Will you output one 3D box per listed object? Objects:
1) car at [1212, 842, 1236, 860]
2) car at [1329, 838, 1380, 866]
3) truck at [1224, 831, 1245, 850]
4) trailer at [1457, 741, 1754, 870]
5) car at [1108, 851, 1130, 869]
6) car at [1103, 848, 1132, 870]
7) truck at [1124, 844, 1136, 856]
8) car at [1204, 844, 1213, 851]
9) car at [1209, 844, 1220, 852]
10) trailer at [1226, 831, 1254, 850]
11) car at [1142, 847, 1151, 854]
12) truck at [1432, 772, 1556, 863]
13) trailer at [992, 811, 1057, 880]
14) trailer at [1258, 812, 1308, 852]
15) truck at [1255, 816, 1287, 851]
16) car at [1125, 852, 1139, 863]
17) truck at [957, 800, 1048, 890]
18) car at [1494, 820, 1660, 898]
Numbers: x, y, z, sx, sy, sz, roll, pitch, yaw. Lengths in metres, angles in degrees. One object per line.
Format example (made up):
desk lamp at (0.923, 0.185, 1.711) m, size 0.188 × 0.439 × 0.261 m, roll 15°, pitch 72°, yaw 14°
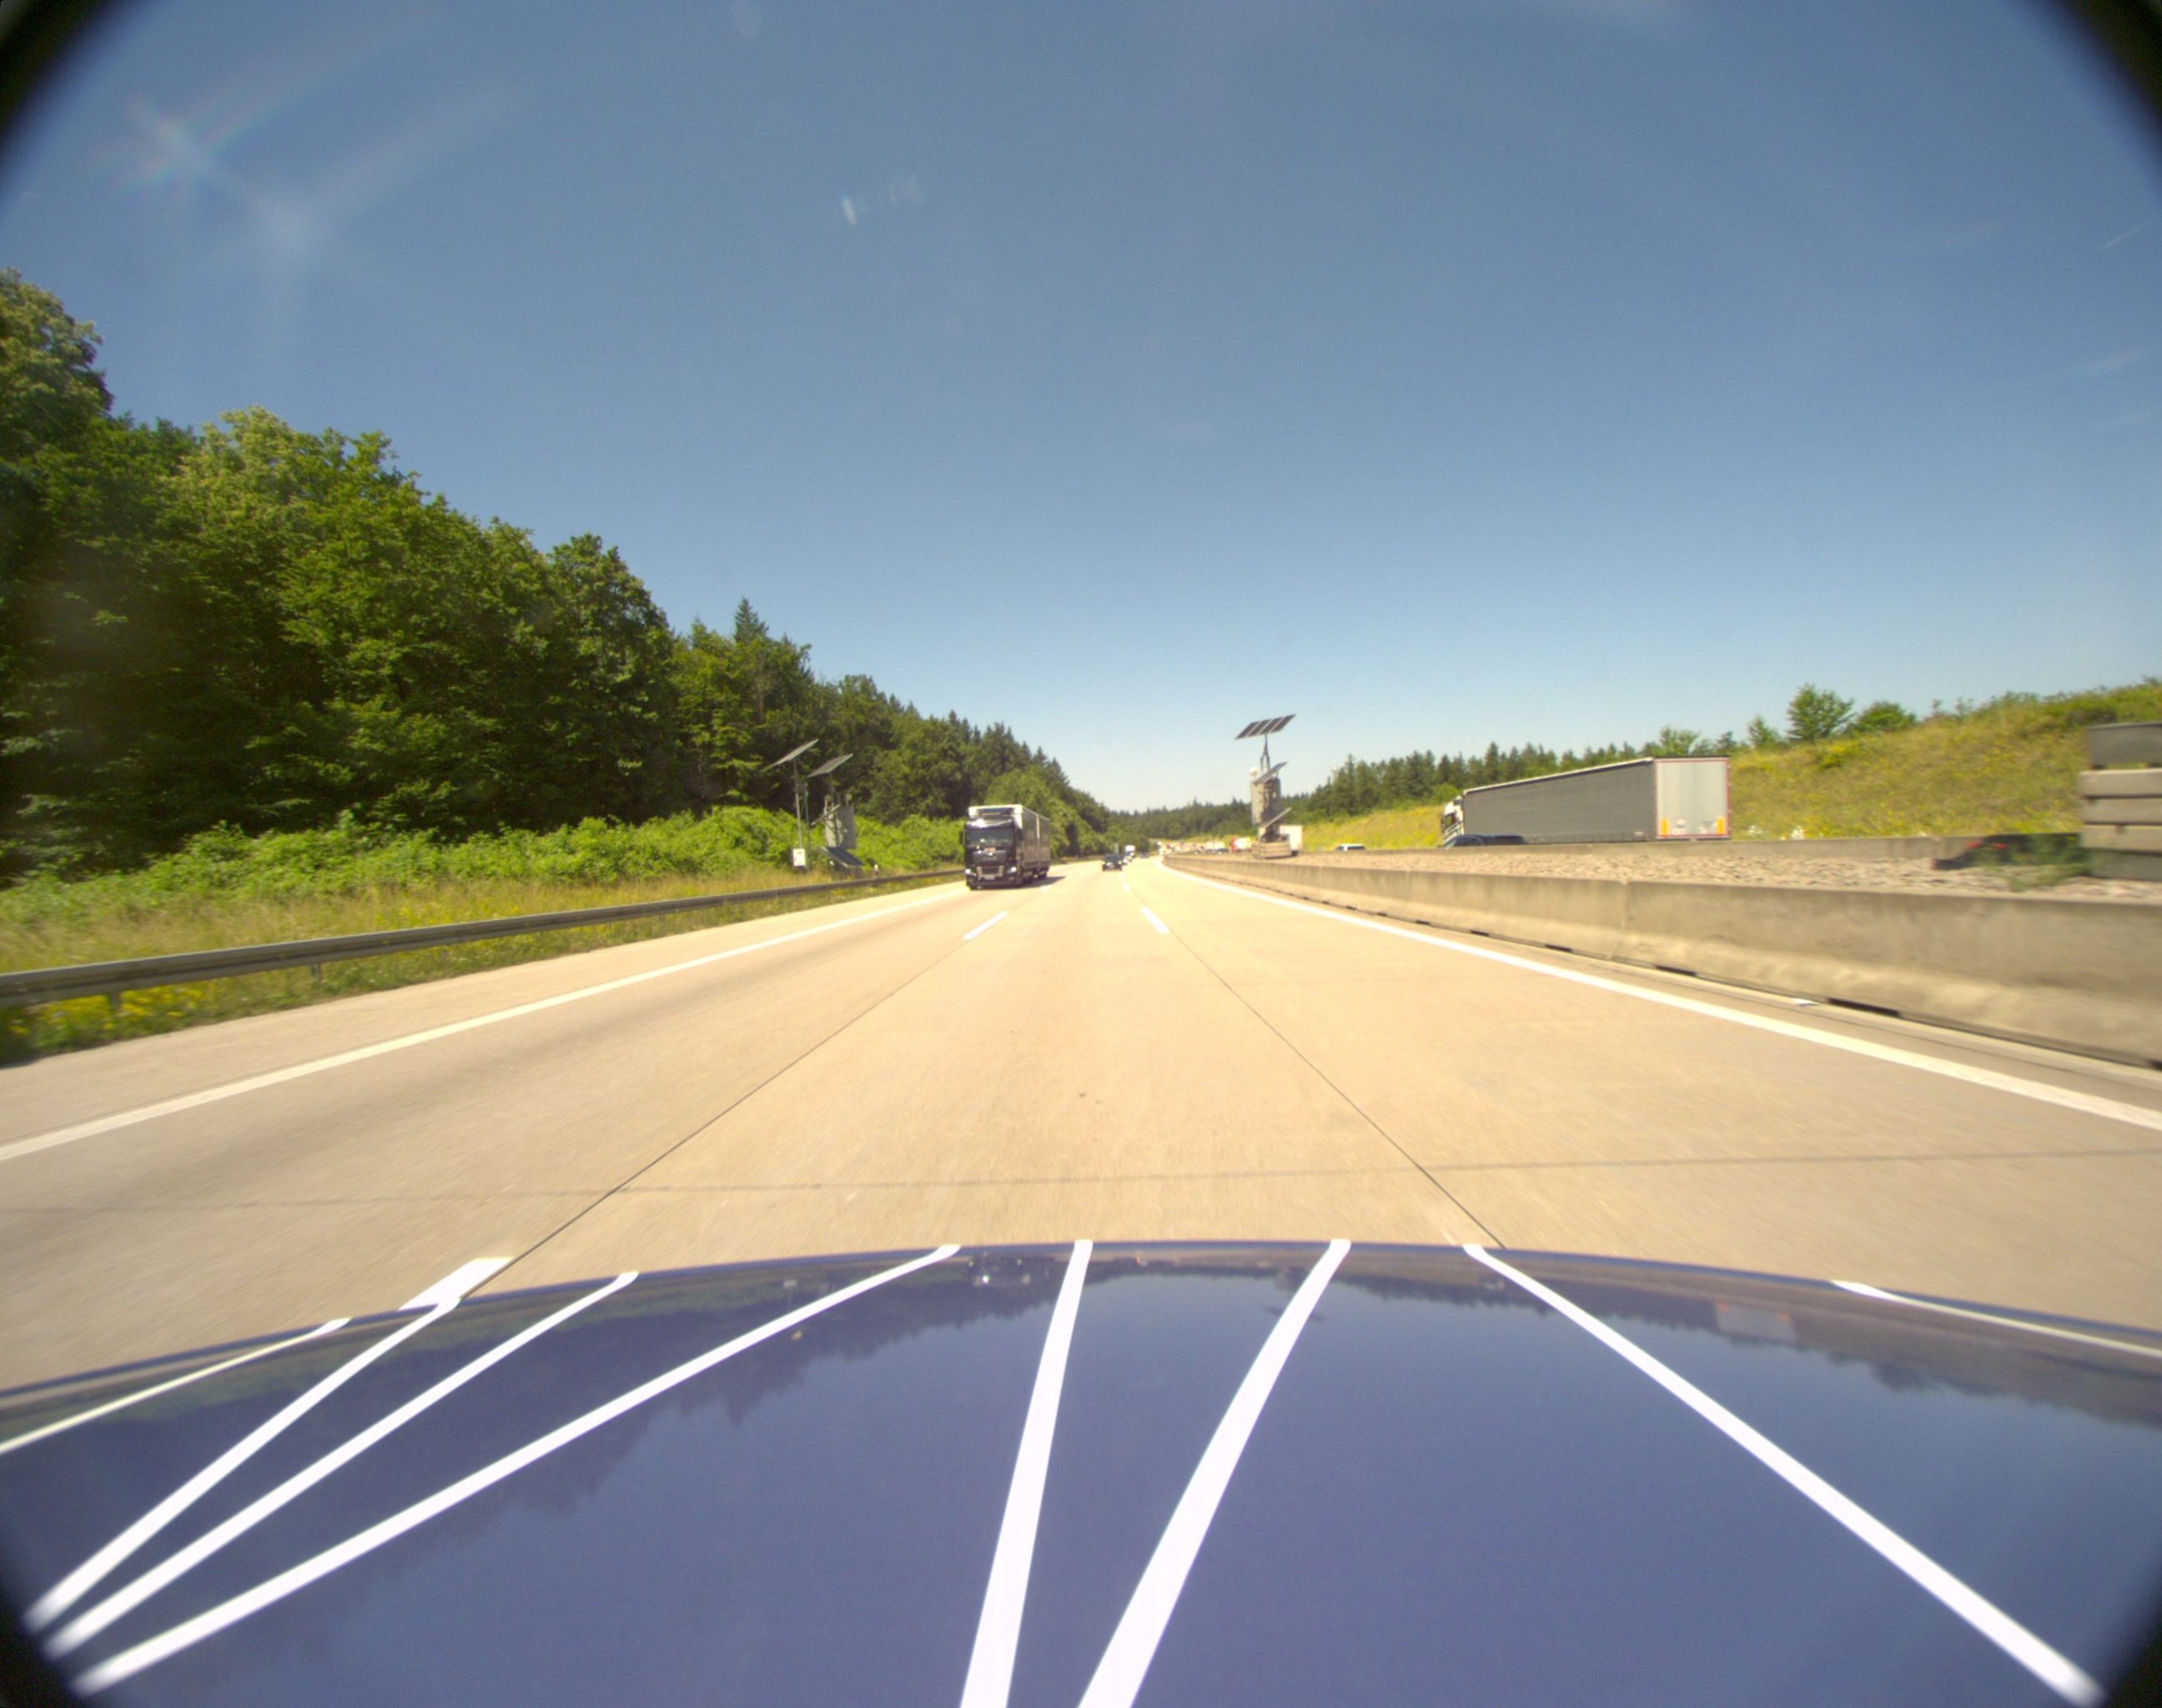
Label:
car at (15.963, -0.382, 84.766) m, size 1.998 × 1.903 × 4.000 m, roll -2°, pitch 0°, yaw 2°
car at (17.842, -0.134, 49.749) m, size 1.998 × 1.674 × 4.000 m, roll -2°, pitch 0°, yaw 2°
truck at (28.898, -2.531, 143.322) m, size 2.940 × 3.196 × 5.906 m, roll -4°, pitch 1°, yaw 3°
trailer at (21.211, -1.707, 32.743) m, size 2.940 × 4.144 × 14.387 m, roll -4°, pitch 1°, yaw 1°
car at (4.143, 0.633, 82.230) m, size 1.998 × 1.694 × 4.401 m, roll -5°, pitch 0°, yaw 6°
car at (3.332, 0.409, 68.728) m, size 1.929 × 1.694 × 4.402 m, roll -5°, pitch 1°, yaw 11°
truck at (12.972, -1.097, 201.047) m, size 2.482 × 2.779 × 5.919 m, roll -5°, pitch 1°, yaw 11°
car at (32.949, -1.715, 196.515) m, size 1.824 × 1.786 × 4.001 m, roll -2°, pitch 0°, yaw 5°
car at (28.238, -1.288, 160.644) m, size 1.998 × 1.707 × 4.001 m, roll -2°, pitch 0°, yaw 4°
trailer at (28.549, -2.417, 136.740) m, size 2.940 × 3.196 × 11.833 m, roll -4°, pitch 1°, yaw 3°
car at (16.241, -0.797, 188.090) m, size 1.841 × 1.547 × 4.002 m, roll -4°, pitch 1°, yaw 9°
truck at (21.391, -1.797, 39.784) m, size 2.940 × 4.145 × 6.229 m, roll -4°, pitch 1°, yaw 1°
trailer at (-3.494, -0.532, 49.951) m, size 3.142 × 3.993 × 9.088 m, roll -2°, pitch 0°, yaw 2°
trailer at (23.923, -2.521, 90.695) m, size 2.940 × 4.144 × 14.390 m, roll -4°, pitch 1°, yaw 5°
truck at (24.538, -2.640, 98.429) m, size 2.940 × 4.145 × 5.761 m, roll -4°, pitch 1°, yaw 5°
car at (8.800, 0.614, 130.490) m, size 1.998 × 1.694 × 4.401 m, roll -5°, pitch 0°, yaw 6°
truck at (-3.843, -0.455, 40.088) m, size 3.167 × 3.993 × 10.608 m, roll -2°, pitch 0°, yaw 2°
car at (13.465, 0.118, 20.956) m, size 1.998 × 1.871 × 4.000 m, roll -2°, pitch 0°, yaw 1°
